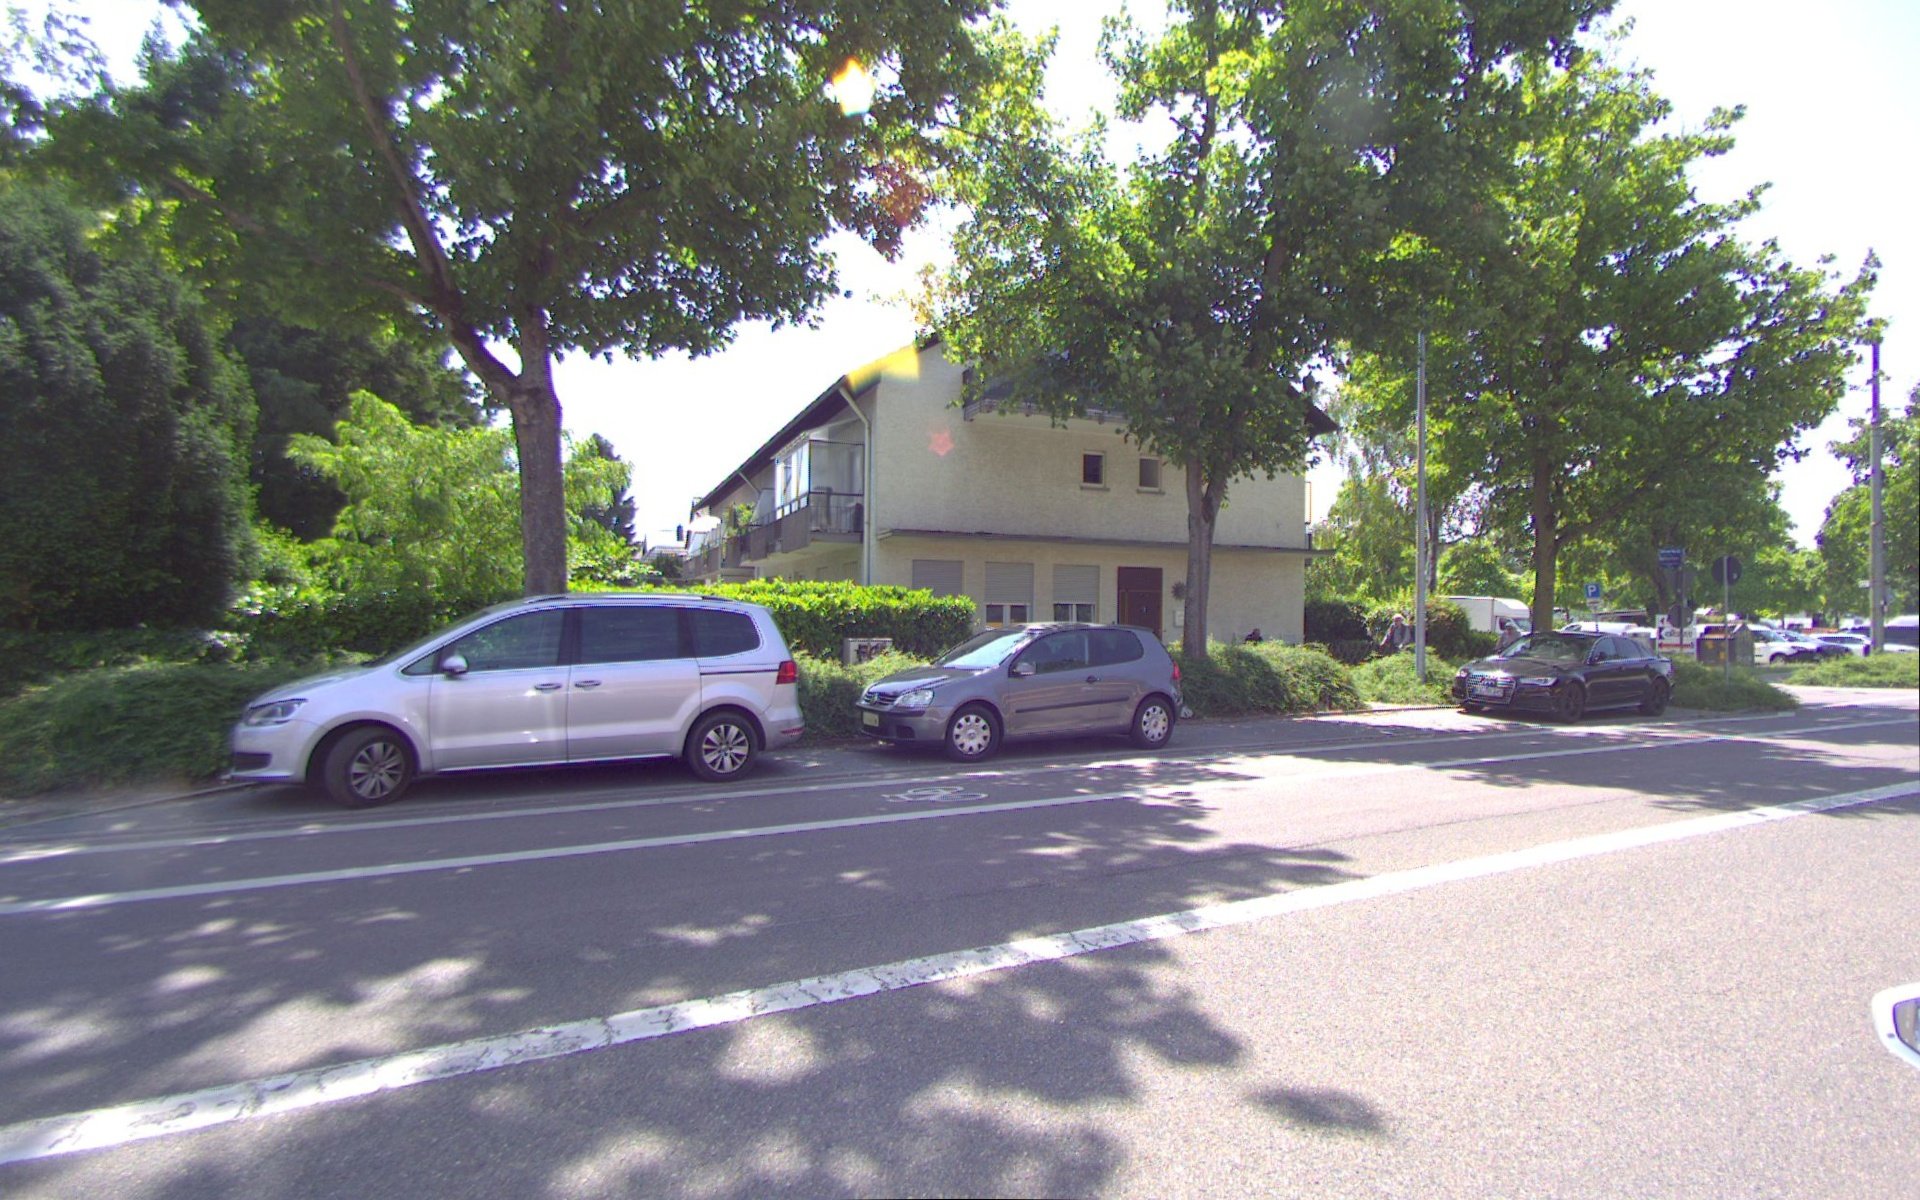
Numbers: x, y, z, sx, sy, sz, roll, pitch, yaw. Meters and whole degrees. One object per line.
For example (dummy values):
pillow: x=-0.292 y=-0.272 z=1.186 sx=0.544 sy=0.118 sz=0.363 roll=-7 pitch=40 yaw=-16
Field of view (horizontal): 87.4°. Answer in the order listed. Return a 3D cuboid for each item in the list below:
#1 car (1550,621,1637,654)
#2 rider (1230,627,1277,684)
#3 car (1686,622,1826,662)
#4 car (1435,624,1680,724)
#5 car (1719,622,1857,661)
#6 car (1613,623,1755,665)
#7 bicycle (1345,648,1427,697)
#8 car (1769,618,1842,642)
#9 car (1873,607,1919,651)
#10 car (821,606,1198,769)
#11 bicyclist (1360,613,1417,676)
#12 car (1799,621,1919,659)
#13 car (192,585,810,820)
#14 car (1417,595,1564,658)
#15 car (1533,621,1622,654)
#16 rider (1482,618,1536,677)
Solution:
car: x=37.437 y=2.200 z=59.432 sx=1.799 sy=1.675 sz=3.957 roll=2 pitch=1 yaw=-37
rider: x=7.381 y=1.392 z=25.262 sx=0.800 sy=1.392 sz=0.824 roll=1 pitch=-1 yaw=-22
car: x=33.885 y=1.758 z=42.907 sx=1.886 sy=1.606 sz=4.332 roll=1 pitch=-1 yaw=-24
car: x=10.575 y=1.219 z=17.701 sx=4.397 sy=1.496 sz=1.809 roll=1 pitch=1 yaw=-31
car: x=36.355 y=1.805 z=44.223 sx=1.886 sy=1.606 sz=4.333 roll=1 pitch=-1 yaw=-23
car: x=29.380 y=1.736 z=40.895 sx=1.891 sy=1.606 sz=4.321 roll=1 pitch=-1 yaw=-31
bicycle: x=9.776 y=1.659 z=23.037 sx=1.805 sy=1.043 sz=0.698 roll=2 pitch=1 yaw=-27
car: x=66.338 y=2.375 z=78.870 sx=1.795 sy=1.638 sz=4.000 roll=2 pitch=1 yaw=-30
car: x=52.161 y=1.636 z=53.228 sx=2.349 sy=2.274 sz=5.076 roll=2 pitch=1 yaw=-28
car: x=0.638 y=0.912 z=11.864 sx=4.132 sy=1.585 sz=1.809 roll=1 pitch=1 yaw=-31
bicyclist: x=9.826 y=1.019 z=23.041 sx=0.817 sy=1.392 sz=0.806 roll=2 pitch=1 yaw=-27
car: x=43.176 y=1.888 z=48.287 sx=1.975 sy=1.769 sz=3.968 roll=1 pitch=-1 yaw=-30
car: x=-3.942 y=0.763 z=9.236 sx=4.725 sy=1.687 sz=1.863 roll=1 pitch=0 yaw=-31
car: x=28.767 y=1.373 z=54.794 sx=2.337 sy=3.005 sz=6.816 roll=2 pitch=1 yaw=-30
car: x=35.556 y=2.131 z=57.917 sx=1.799 sy=1.675 sz=3.957 roll=2 pitch=1 yaw=-37
rider: x=13.646 y=1.165 z=24.968 sx=0.817 sy=1.378 sz=0.806 roll=1 pitch=2 yaw=-27
